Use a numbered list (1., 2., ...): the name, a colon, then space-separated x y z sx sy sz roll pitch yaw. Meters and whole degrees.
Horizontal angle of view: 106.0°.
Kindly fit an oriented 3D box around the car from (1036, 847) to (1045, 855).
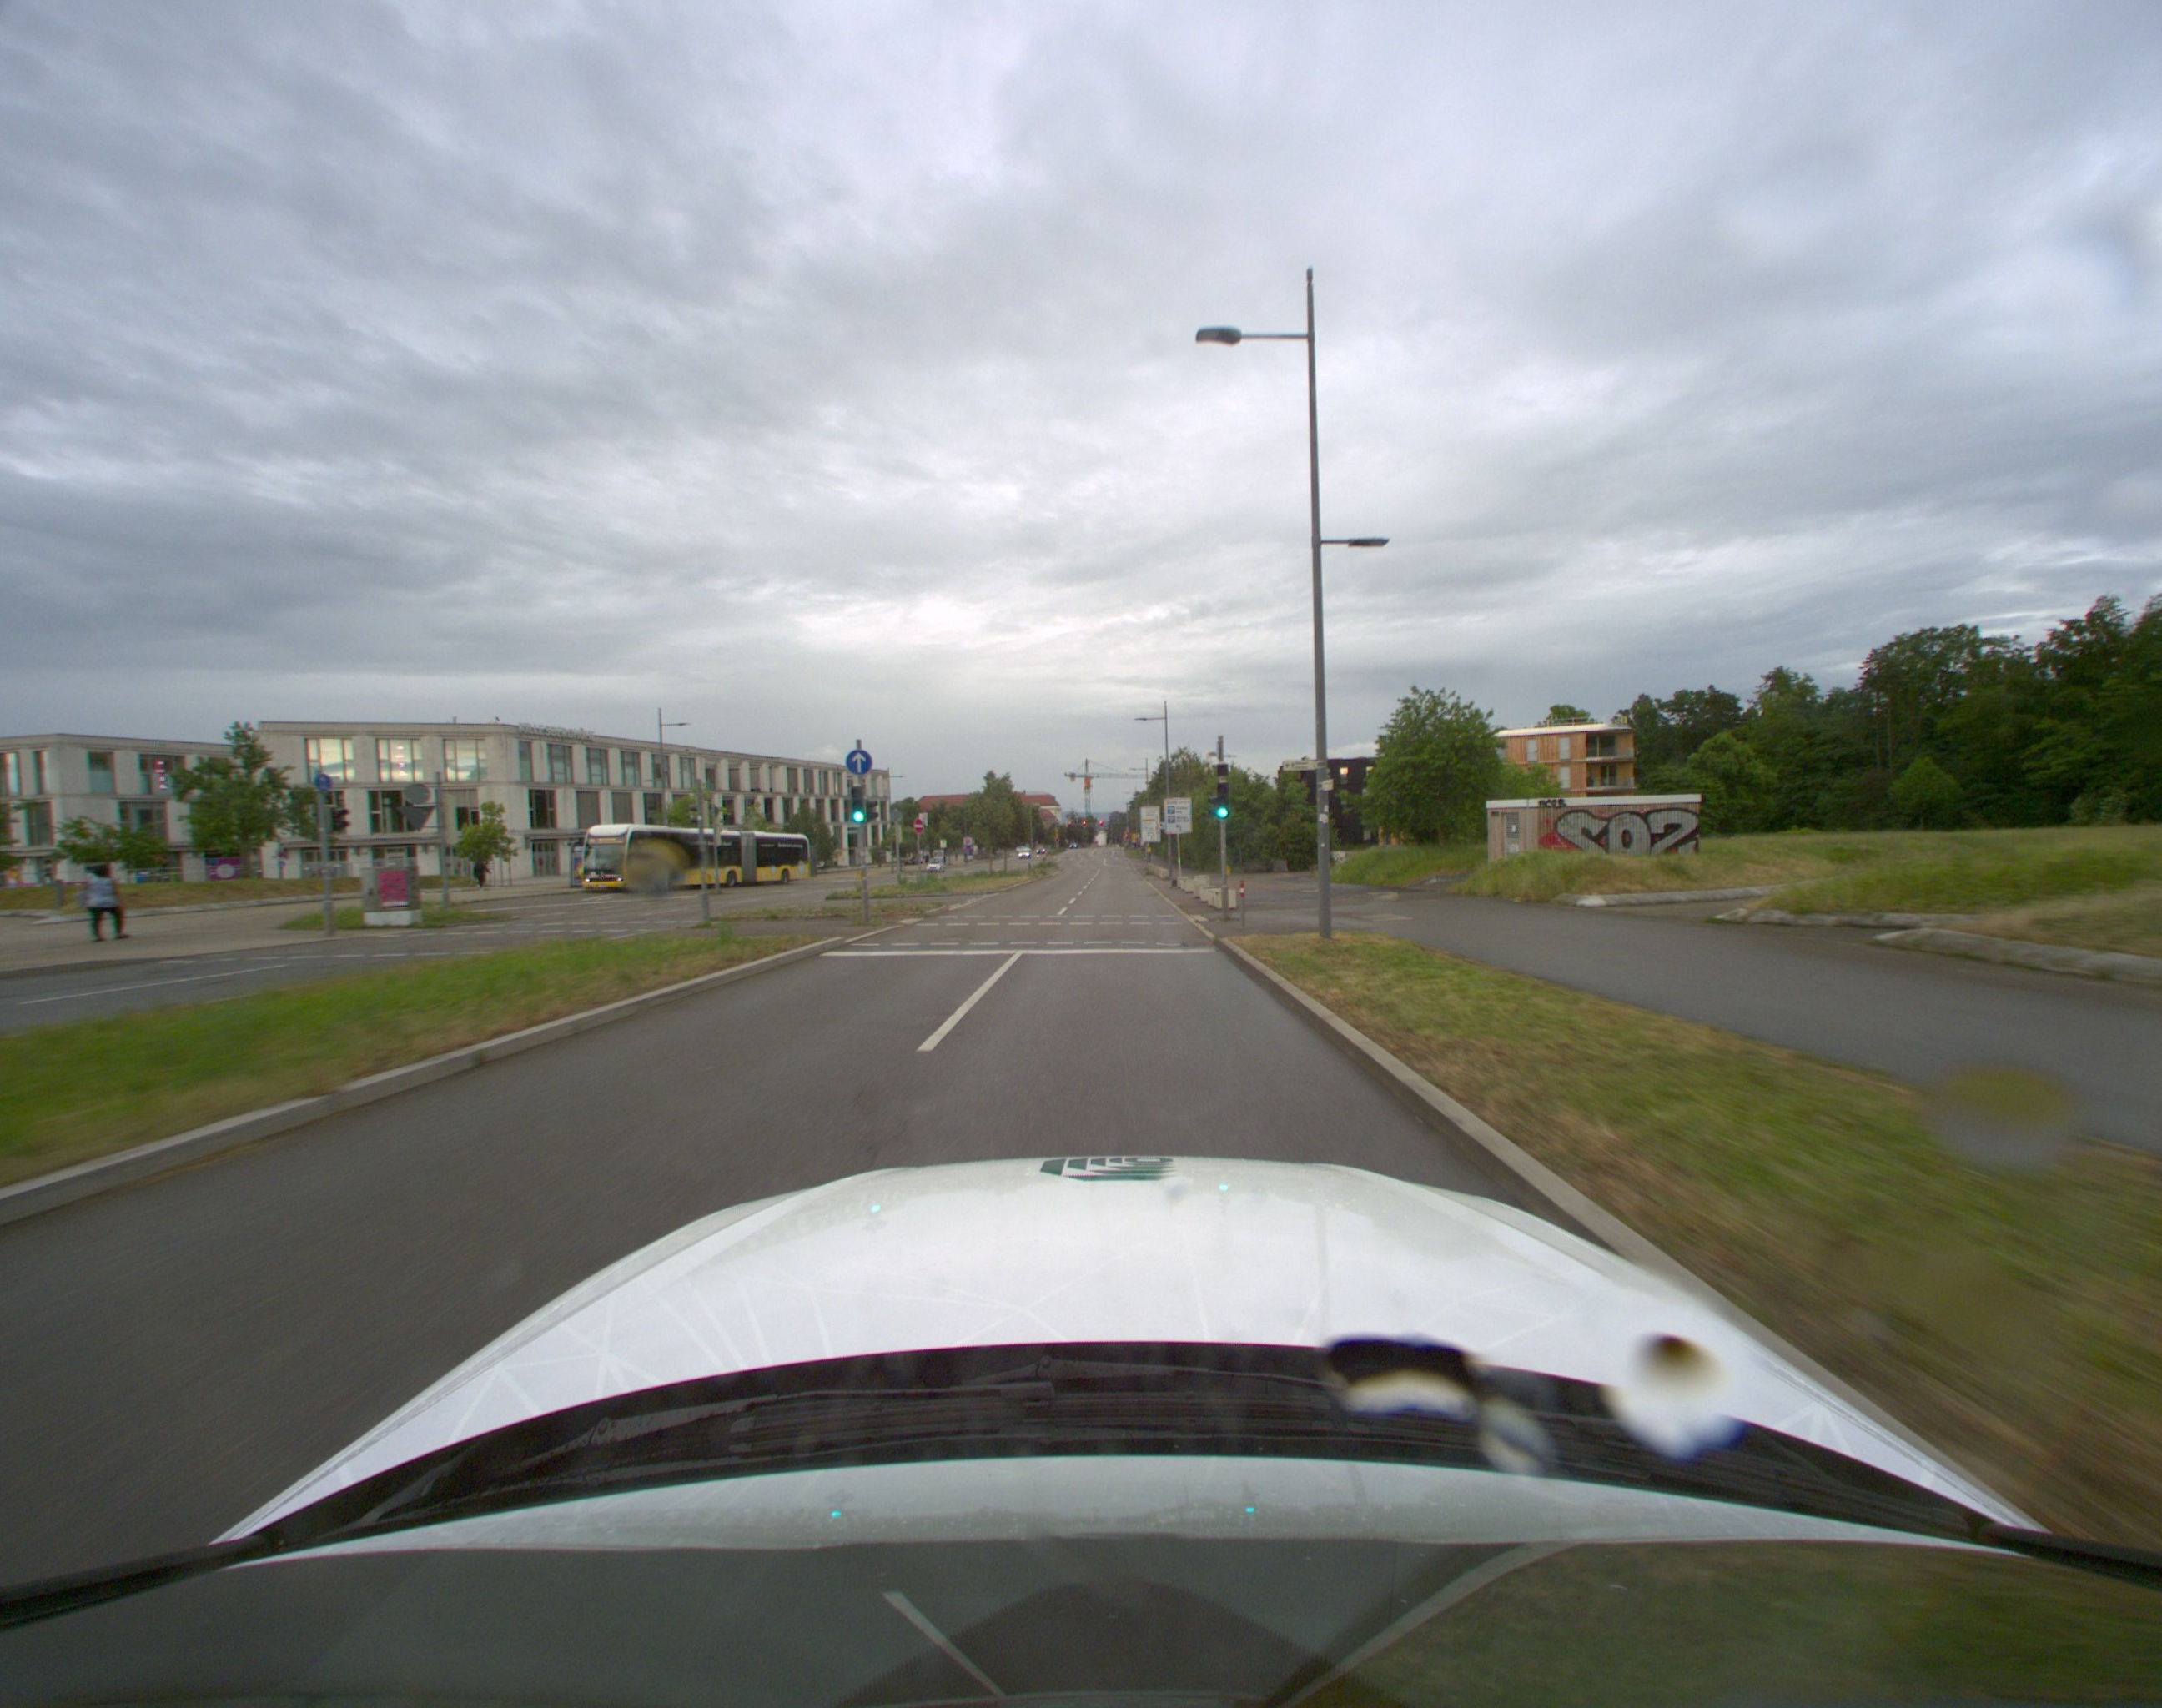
1. car: -8.489 -0.652 169.701 1.765 1.494 4.064 -2 -1 -2

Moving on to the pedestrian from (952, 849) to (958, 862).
1. pedestrian: -20.542 0.231 132.797 0.750 2.014 0.833 -1 -2 -16

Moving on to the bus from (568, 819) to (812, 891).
1. bus: -21.620 0.201 47.737 2.768 3.357 18.273 -2 -1 10

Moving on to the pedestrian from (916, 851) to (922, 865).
1. pedestrian: -23.032 0.580 115.544 0.750 1.853 0.833 -1 -2 -16

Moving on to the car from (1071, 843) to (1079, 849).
1. car: -1.681 -2.297 226.655 1.760 1.494 4.076 -2 -1 7

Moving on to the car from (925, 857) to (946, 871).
1. car: -16.095 1.154 90.148 1.470 1.494 2.535 -2 -1 7

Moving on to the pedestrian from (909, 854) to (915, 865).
1. pedestrian: -24.016 0.737 115.726 0.836 1.532 0.748 -2 -2 -11

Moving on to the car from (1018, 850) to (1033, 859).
1. car: -9.547 0.082 140.438 1.760 1.494 4.074 -2 -1 6

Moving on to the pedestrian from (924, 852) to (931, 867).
1. pedestrian: -20.341 0.792 107.986 0.750 1.947 0.833 -1 -2 -16

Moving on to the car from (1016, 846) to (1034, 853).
1. car: -12.712 -1.022 184.965 3.835 1.494 1.748 -3 -2 35

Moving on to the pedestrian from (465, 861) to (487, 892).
1. pedestrian: -30.610 1.136 41.197 0.684 1.524 0.715 -1 -2 -16

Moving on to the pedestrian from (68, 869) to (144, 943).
1. pedestrian: -21.723 1.144 18.159 0.837 1.574 0.714 -1 -2 -23
